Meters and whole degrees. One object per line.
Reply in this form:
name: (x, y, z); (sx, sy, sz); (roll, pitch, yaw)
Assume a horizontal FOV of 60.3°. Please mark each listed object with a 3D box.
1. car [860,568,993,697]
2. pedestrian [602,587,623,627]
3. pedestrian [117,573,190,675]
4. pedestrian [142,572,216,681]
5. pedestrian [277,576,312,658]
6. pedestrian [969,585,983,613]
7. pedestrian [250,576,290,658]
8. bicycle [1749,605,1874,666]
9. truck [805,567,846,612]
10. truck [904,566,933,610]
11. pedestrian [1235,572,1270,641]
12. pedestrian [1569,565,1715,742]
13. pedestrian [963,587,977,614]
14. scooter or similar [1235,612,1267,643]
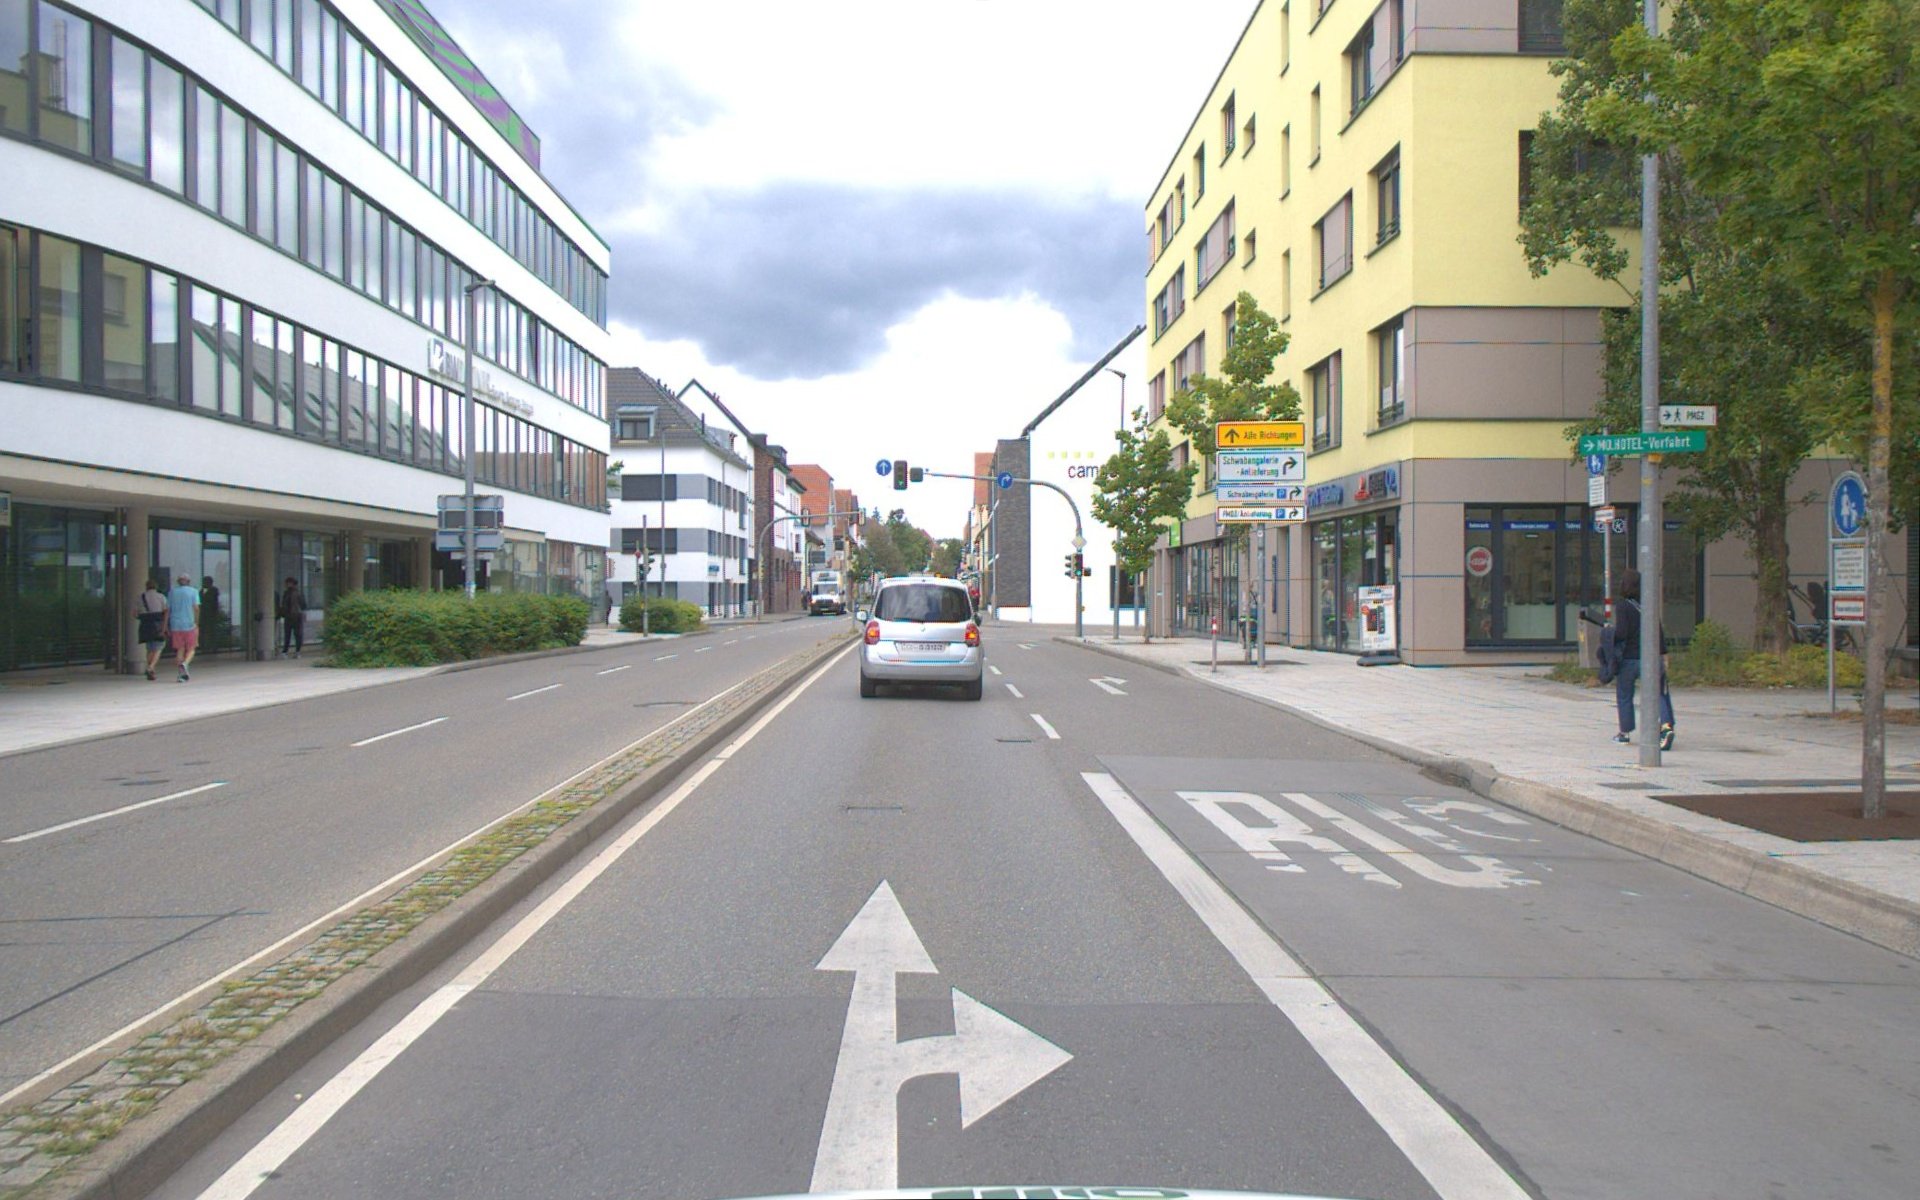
car: (-0.474, 0.399, 23.180); (1.672, 1.606, 3.999); (2, 0, -1)
pedestrian: (-15.358, 0.293, 73.089); (0.866, 1.698, 0.812); (-1, 3, -11)
pedestrian: (-13.339, 0.391, 27.389); (0.715, 1.641, 0.931); (1, 0, 1)
pedestrian: (-12.523, 0.407, 26.535); (0.715, 1.703, 0.931); (1, 0, 1)
pedestrian: (-14.211, 0.356, 35.324); (0.607, 1.740, 0.501); (0, 0, -32)
pedestrian: (1.064, -0.070, 107.865); (0.791, 1.818, 0.861); (-3, 0, -1)
pedestrian: (-14.906, 0.368, 35.750); (0.495, 1.760, 0.614); (0, 0, 30)
bicycle: (14.572, 0.602, 28.321); (1.839, 1.018, 0.542); (0, 0, 3)
truck: (-9.288, -0.753, 114.842); (2.386, 3.005, 8.362); (0, 0, -1)
truck: (-3.809, -1.113, 151.501); (2.543, 3.925, 6.847); (0, 1, -1)
pedestrian: (7.022, 0.158, 39.685); (0.681, 1.621, 0.603); (-1, 0, -2)
pedestrian: (6.396, 0.483, 15.568); (0.928, 1.611, 1.015); (0, 0, -2)
pedestrian: (0.670, 0.034, 113.241); (0.871, 1.818, 0.785); (-3, 0, -1)
scooter or similar: (6.856, 0.647, 38.965); (0.580, 0.684, 0.824); (-1, 0, -2)
